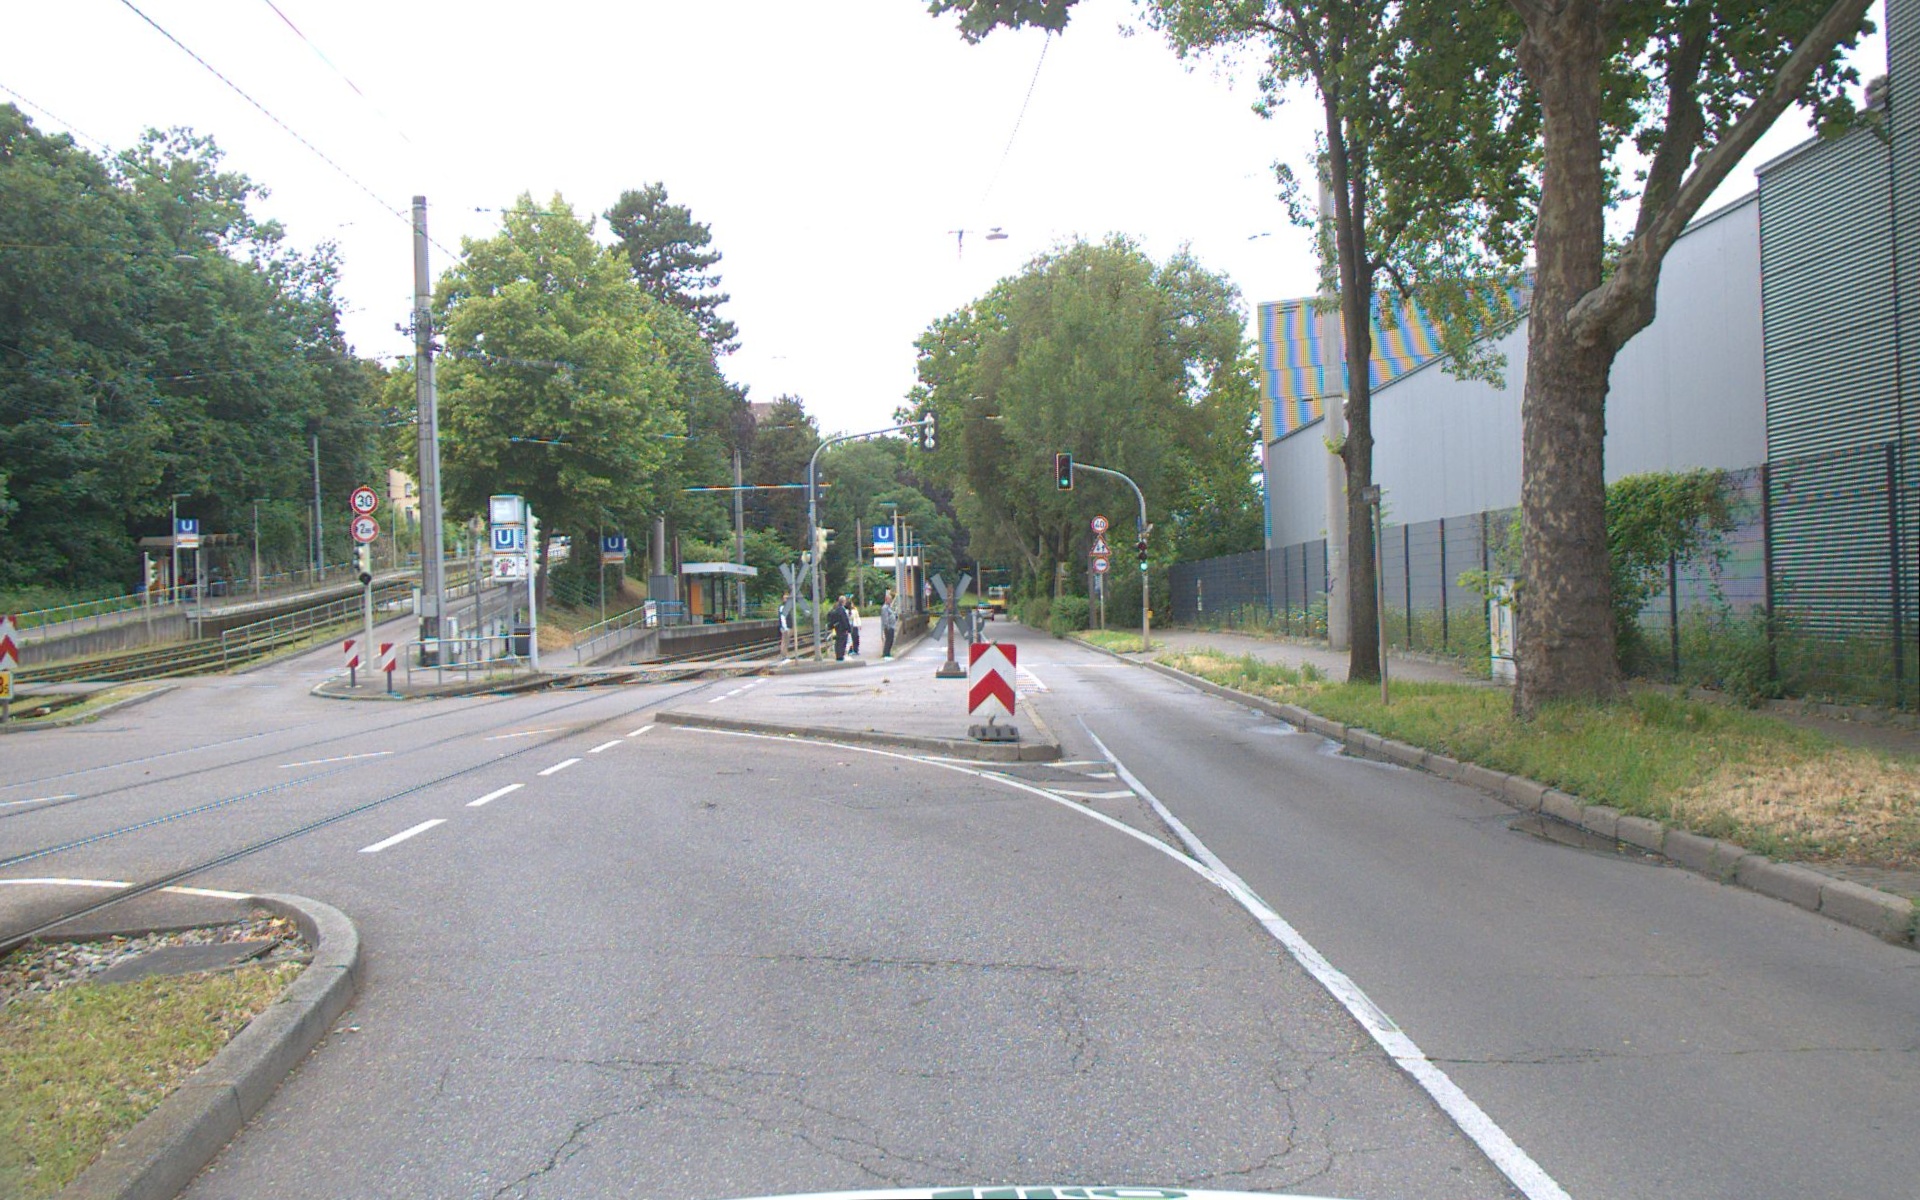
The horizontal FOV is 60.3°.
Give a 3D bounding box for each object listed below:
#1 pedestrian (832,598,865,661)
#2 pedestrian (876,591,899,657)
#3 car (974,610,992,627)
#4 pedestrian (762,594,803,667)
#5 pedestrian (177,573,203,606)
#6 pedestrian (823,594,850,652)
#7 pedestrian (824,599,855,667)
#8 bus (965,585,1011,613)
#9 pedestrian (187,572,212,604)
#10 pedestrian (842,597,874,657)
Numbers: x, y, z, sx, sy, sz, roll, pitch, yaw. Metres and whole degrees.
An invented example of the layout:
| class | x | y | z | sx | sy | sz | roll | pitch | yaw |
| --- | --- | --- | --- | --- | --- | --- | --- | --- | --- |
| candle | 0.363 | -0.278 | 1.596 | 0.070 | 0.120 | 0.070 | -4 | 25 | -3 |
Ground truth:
| class | x | y | z | sx | sy | sz | roll | pitch | yaw |
| --- | --- | --- | --- | --- | --- | --- | --- | --- | --- |
| pedestrian | -3.017 | 0.796 | 44.807 | 0.665 | 1.694 | 0.738 | 1 | -1 | 15 |
| pedestrian | -2.013 | 0.665 | 46.008 | 0.538 | 1.789 | 0.738 | 1 | -1 | 4 |
| car | 2.287 | 1.788 | 162.511 | 1.708 | 1.627 | 3.999 | 0 | 0 | 0 |
| pedestrian | -4.581 | 0.774 | 42.615 | 0.659 | 1.853 | 0.799 | 0 | -1 | 44 |
| pedestrian | -32.454 | -0.434 | 69.729 | 0.757 | 1.349 | 0.786 | 1 | 2 | -8 |
| pedestrian | -3.651 | 0.681 | 48.958 | 0.722 | 1.694 | 0.680 | 1 | -1 | -11 |
| pedestrian | -3.069 | 0.838 | 42.169 | 0.720 | 1.694 | 0.682 | 1 | -1 | 1 |
| bus | 3.940 | -0.092 | 229.676 | 2.681 | 3.690 | 8.930 | 1 | -1 | 27 |
| pedestrian | -32.640 | -0.497 | 71.022 | 0.757 | 1.349 | 0.785 | 1 | -1 | -8 |
| pedestrian | -2.935 | 0.773 | 47.516 | 0.665 | 1.694 | 0.737 | 1 | -1 | 20 |
